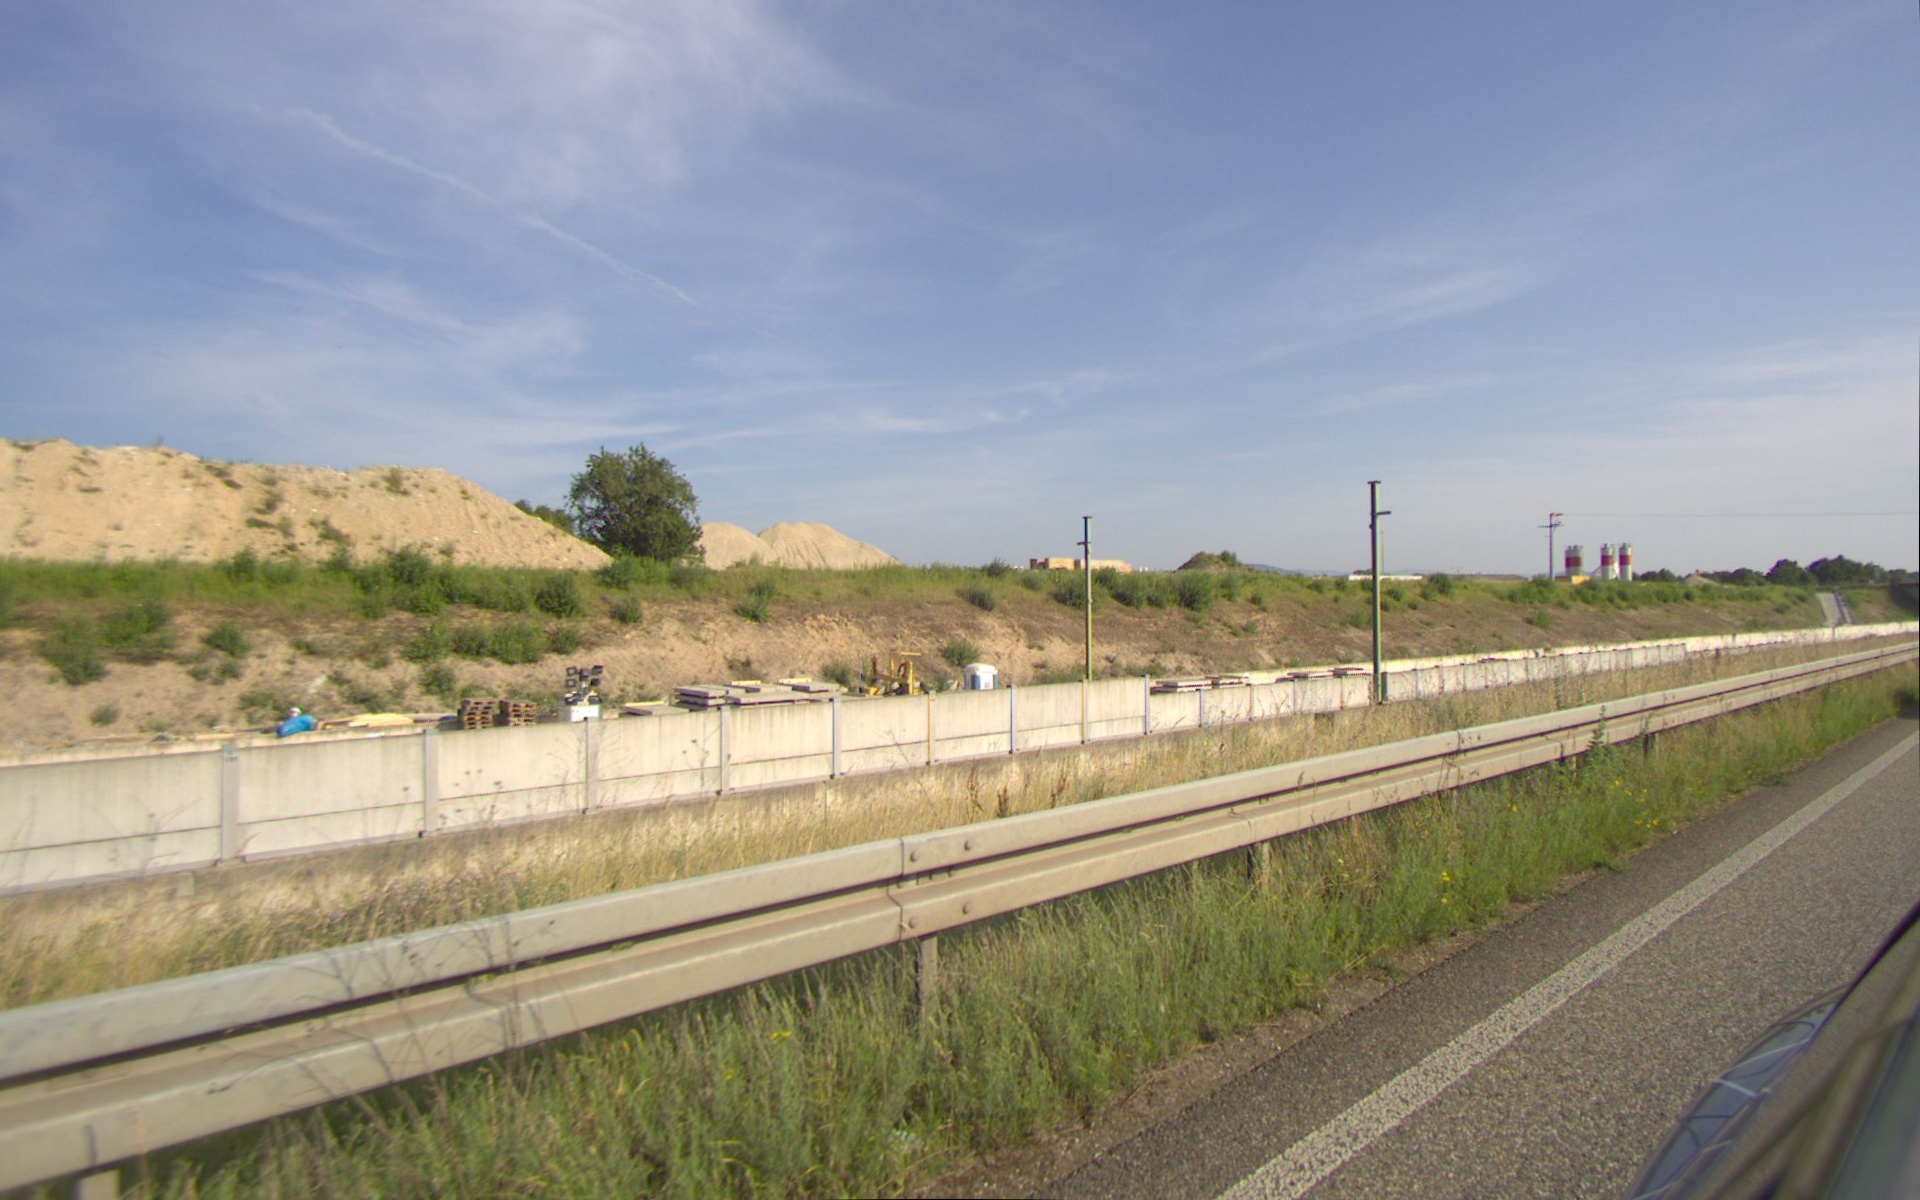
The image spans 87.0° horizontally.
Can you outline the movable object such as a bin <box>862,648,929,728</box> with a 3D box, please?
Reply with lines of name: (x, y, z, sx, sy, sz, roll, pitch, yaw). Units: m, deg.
movable object such as a bin: (-2.444, 3.211, 37.782, 1.977, 2.695, 2.919, 0, 0, -15)
